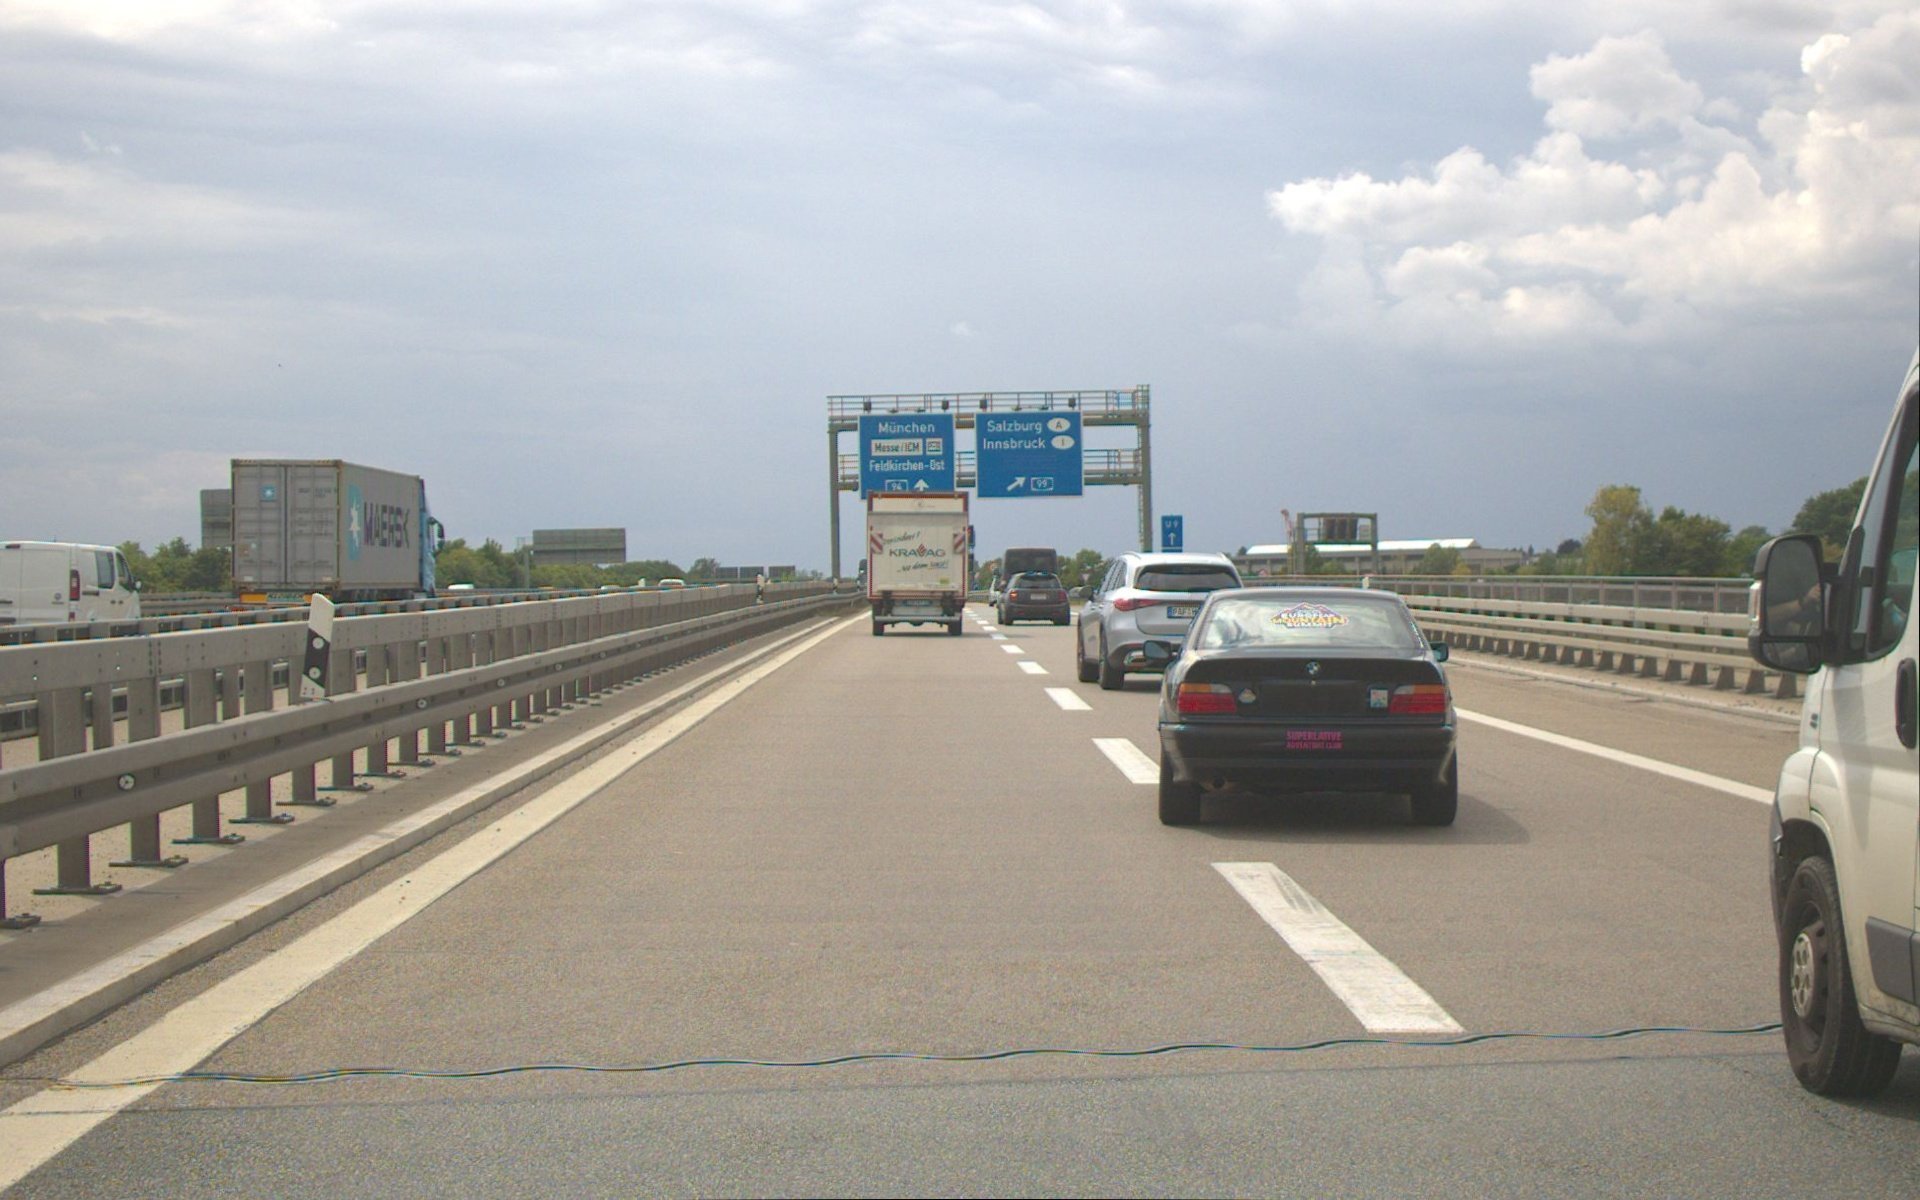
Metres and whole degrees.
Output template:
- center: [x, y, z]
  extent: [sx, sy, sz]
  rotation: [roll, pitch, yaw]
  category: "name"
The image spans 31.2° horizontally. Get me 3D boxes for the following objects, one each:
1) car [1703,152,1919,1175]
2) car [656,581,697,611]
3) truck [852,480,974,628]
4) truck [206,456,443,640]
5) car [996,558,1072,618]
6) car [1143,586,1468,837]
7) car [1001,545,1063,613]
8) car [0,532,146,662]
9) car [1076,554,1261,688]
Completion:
- center: [3.361, 0.167, 7.400]
  extent: [2.114, 2.445, 6.152]
  rotation: [1, 1, 0]
  category: "car"
- center: [-15.378, -0.213, 186.697]
  extent: [1.828, 1.557, 4.000]
  rotation: [0, 1, 1]
  category: "car"
- center: [-1.044, -0.948, 77.931]
  extent: [2.569, 3.115, 8.634]
  rotation: [1, -1, -1]
  category: "truck"
- center: [-15.200, -1.257, 83.719]
  extent: [3.183, 4.005, 16.076]
  rotation: [1, 1, -2]
  category: "truck"
- center: [1.950, -0.340, 91.868]
  extent: [1.884, 1.546, 4.000]
  rotation: [1, 1, -1]
  category: "car"
- center: [2.081, 0.583, 20.495]
  extent: [1.704, 1.277, 4.365]
  rotation: [1, 1, 6]
  category: "car"
- center: [2.442, -0.735, 117.629]
  extent: [1.906, 2.254, 4.649]
  rotation: [1, 1, -1]
  category: "car"
- center: [-14.719, -0.081, 55.800]
  extent: [1.993, 2.007, 4.374]
  rotation: [1, 1, 0]
  category: "car"
- center: [2.445, 0.216, 41.175]
  extent: [1.819, 1.509, 4.000]
  rotation: [1, 1, -2]
  category: "car"
